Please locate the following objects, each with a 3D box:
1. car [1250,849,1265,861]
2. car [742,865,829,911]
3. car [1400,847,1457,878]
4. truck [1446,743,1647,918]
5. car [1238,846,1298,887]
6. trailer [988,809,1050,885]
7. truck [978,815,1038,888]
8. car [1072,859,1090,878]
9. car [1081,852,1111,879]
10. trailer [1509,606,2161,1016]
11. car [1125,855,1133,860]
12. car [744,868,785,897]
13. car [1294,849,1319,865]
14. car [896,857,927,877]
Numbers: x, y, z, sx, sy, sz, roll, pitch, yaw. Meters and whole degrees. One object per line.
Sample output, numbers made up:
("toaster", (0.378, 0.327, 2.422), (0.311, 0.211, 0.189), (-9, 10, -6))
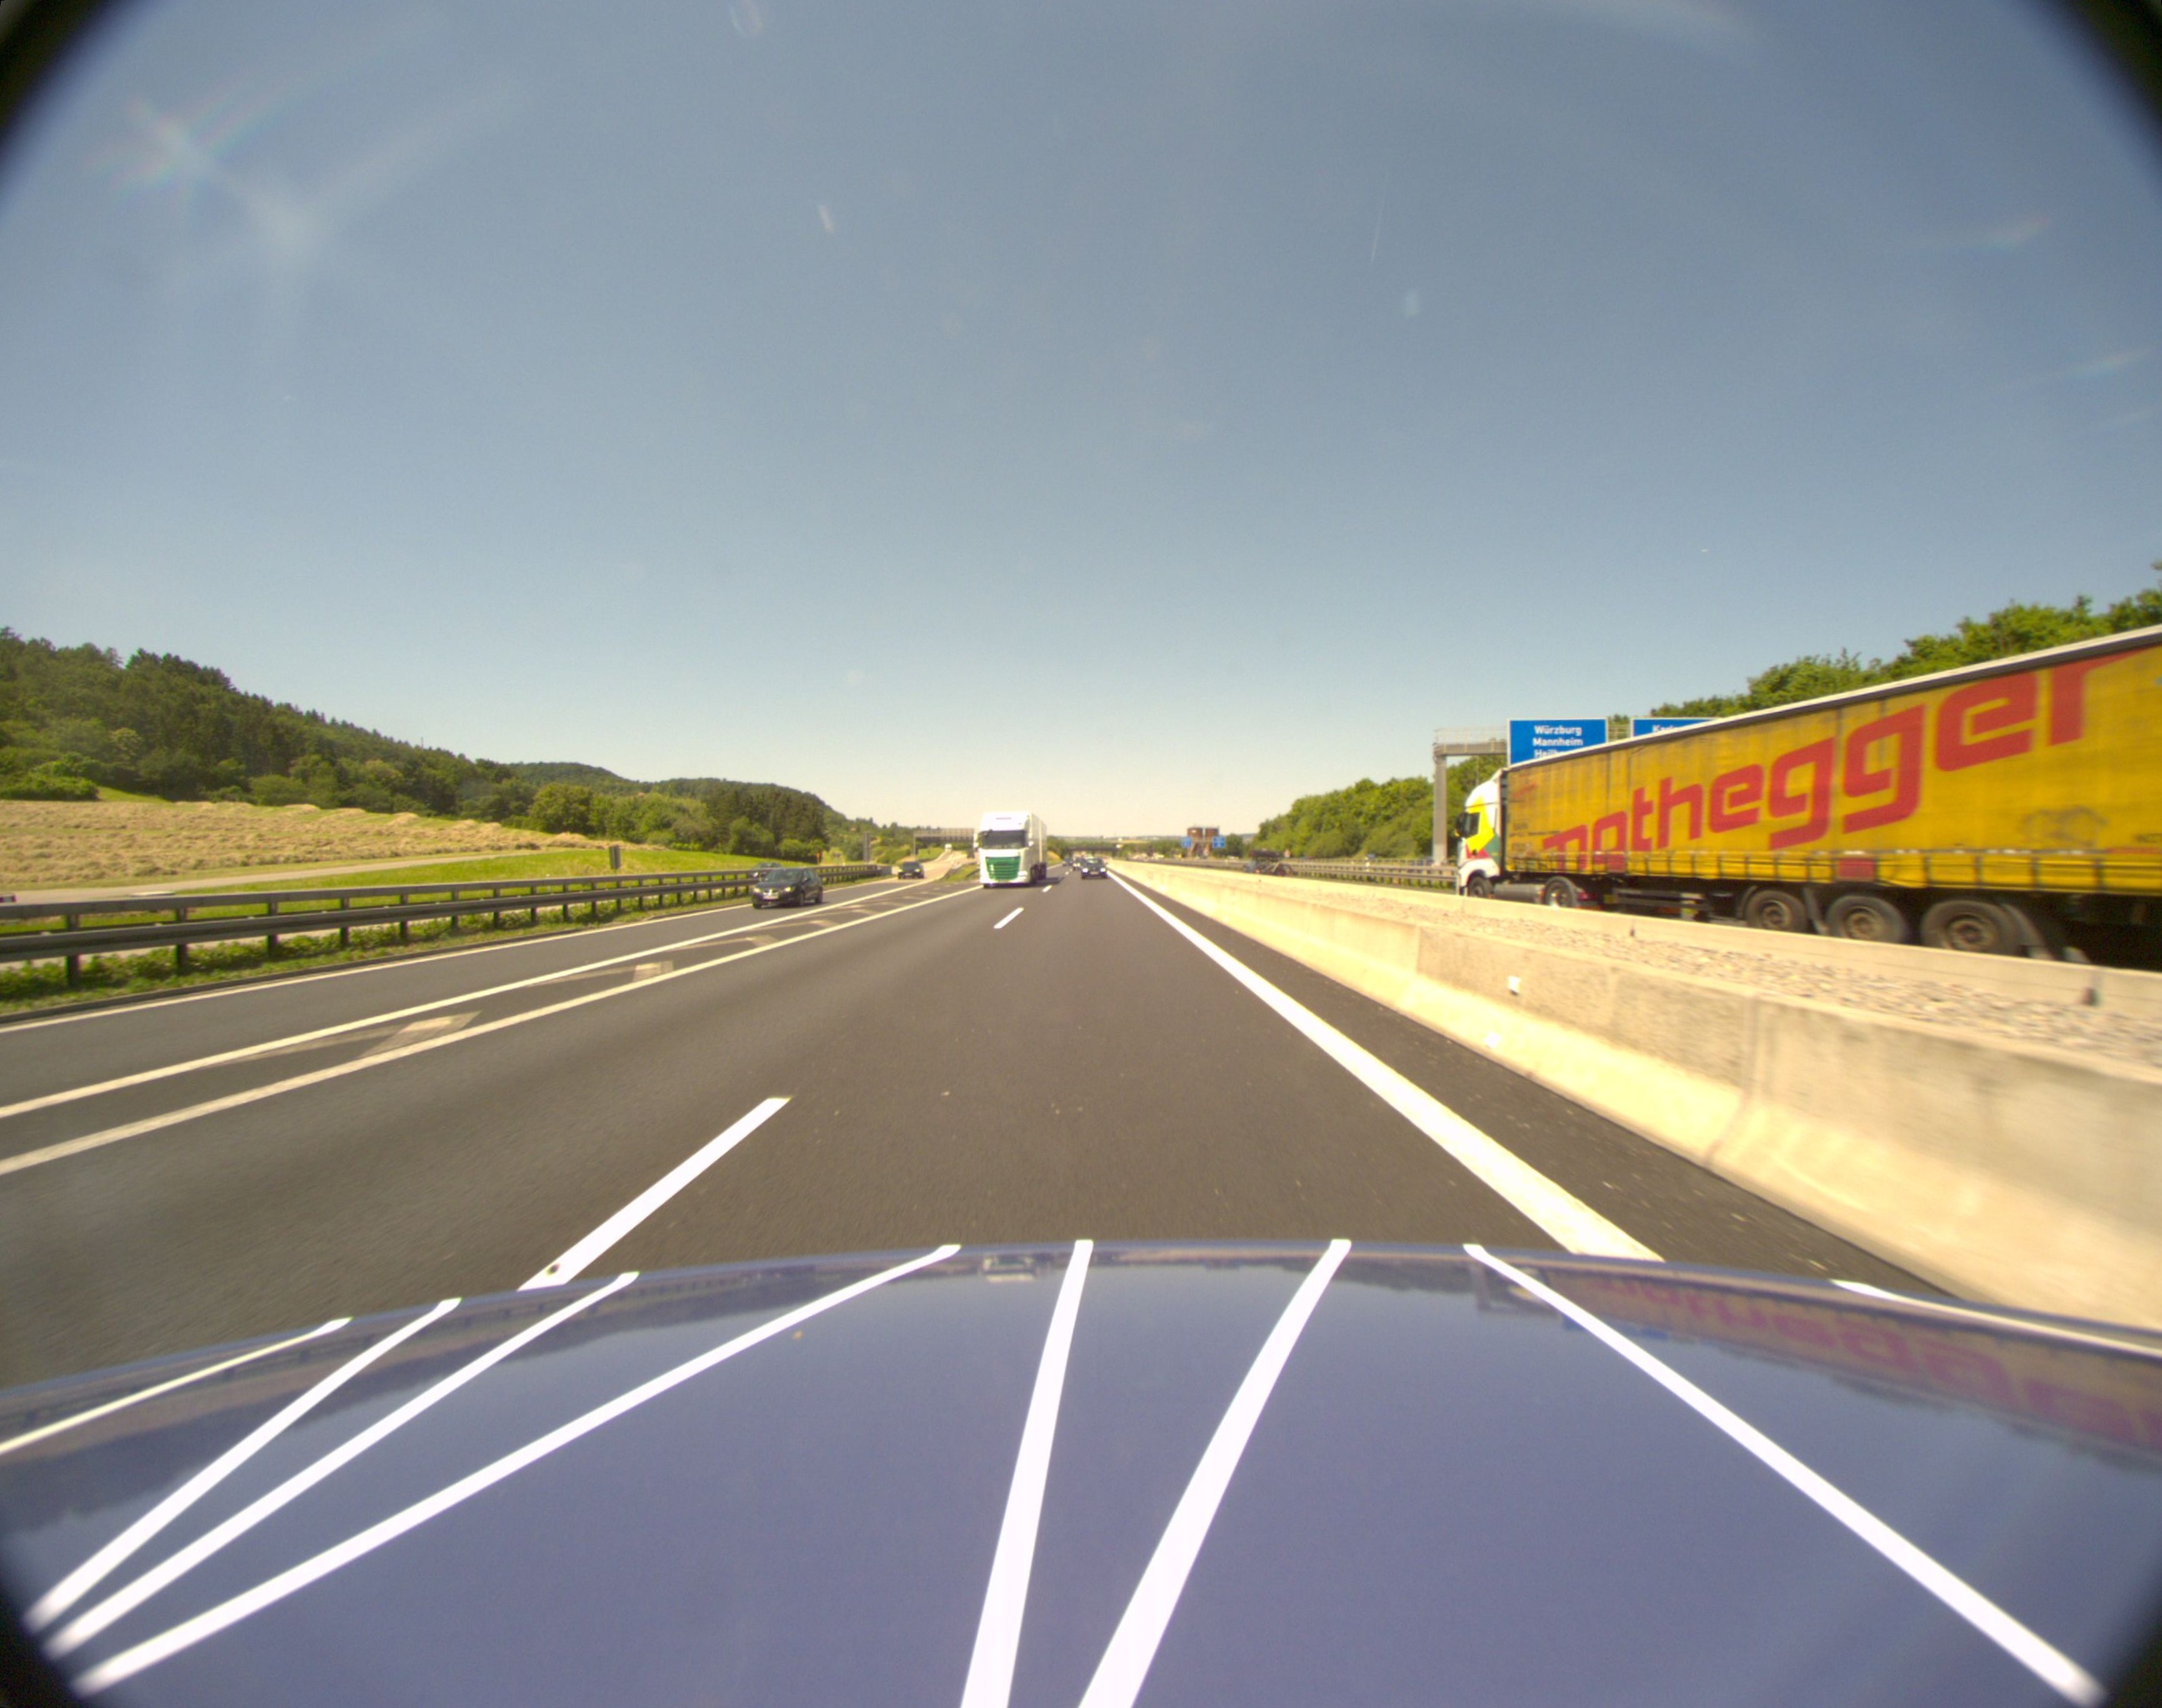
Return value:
("car", (32.819, 0.166, 141.505), (1.951, 2.002, 4.021), (-2, 1, 3))
("car", (-10.636, 1.180, 27.649), (1.782, 1.392, 3.760), (-2, 1, -3))
("car", (24.509, 0.572, 53.758), (1.999, 2.002, 3.999), (-2, 1, -2))
("truck", (12.685, -0.593, 21.196), (2.713, 4.263, 4.552), (-2, 1, 0))
("car", (9.773, 0.620, 40.190), (1.923, 2.002, 5.346), (0, 0, 1))
("trailer", (-3.781, -0.435, 50.110), (2.663, 4.164, 14.893), (-2, 0, 0))
("truck", (-3.801, -0.149, 40.430), (2.649, 3.572, 4.403), (-2, 1, 0))
("car", (0.022, 1.641, 87.312), (1.998, 2.002, 4.000), (-2, 1, 1))
("car", (0.951, 0.687, 48.994), (1.799, 1.574, 3.999), (-2, 1, 0))
("trailer", (12.590, -0.526, 13.115), (2.674, 4.248, 13.813), (-2, 1, 1))
("car", (15.281, 1.156, 242.320), (1.839, 1.525, 4.158), (-3, 1, -2))
("car", (-24.496, 2.168, 58.989), (2.000, 2.002, 3.996), (-2, 1, -10))
("car", (28.826, 0.339, 97.215), (1.998, 2.002, 3.999), (-2, 1, 0))
("car", (-13.772, 1.020, 61.755), (1.892, 1.464, 3.865), (-2, 1, -5))
